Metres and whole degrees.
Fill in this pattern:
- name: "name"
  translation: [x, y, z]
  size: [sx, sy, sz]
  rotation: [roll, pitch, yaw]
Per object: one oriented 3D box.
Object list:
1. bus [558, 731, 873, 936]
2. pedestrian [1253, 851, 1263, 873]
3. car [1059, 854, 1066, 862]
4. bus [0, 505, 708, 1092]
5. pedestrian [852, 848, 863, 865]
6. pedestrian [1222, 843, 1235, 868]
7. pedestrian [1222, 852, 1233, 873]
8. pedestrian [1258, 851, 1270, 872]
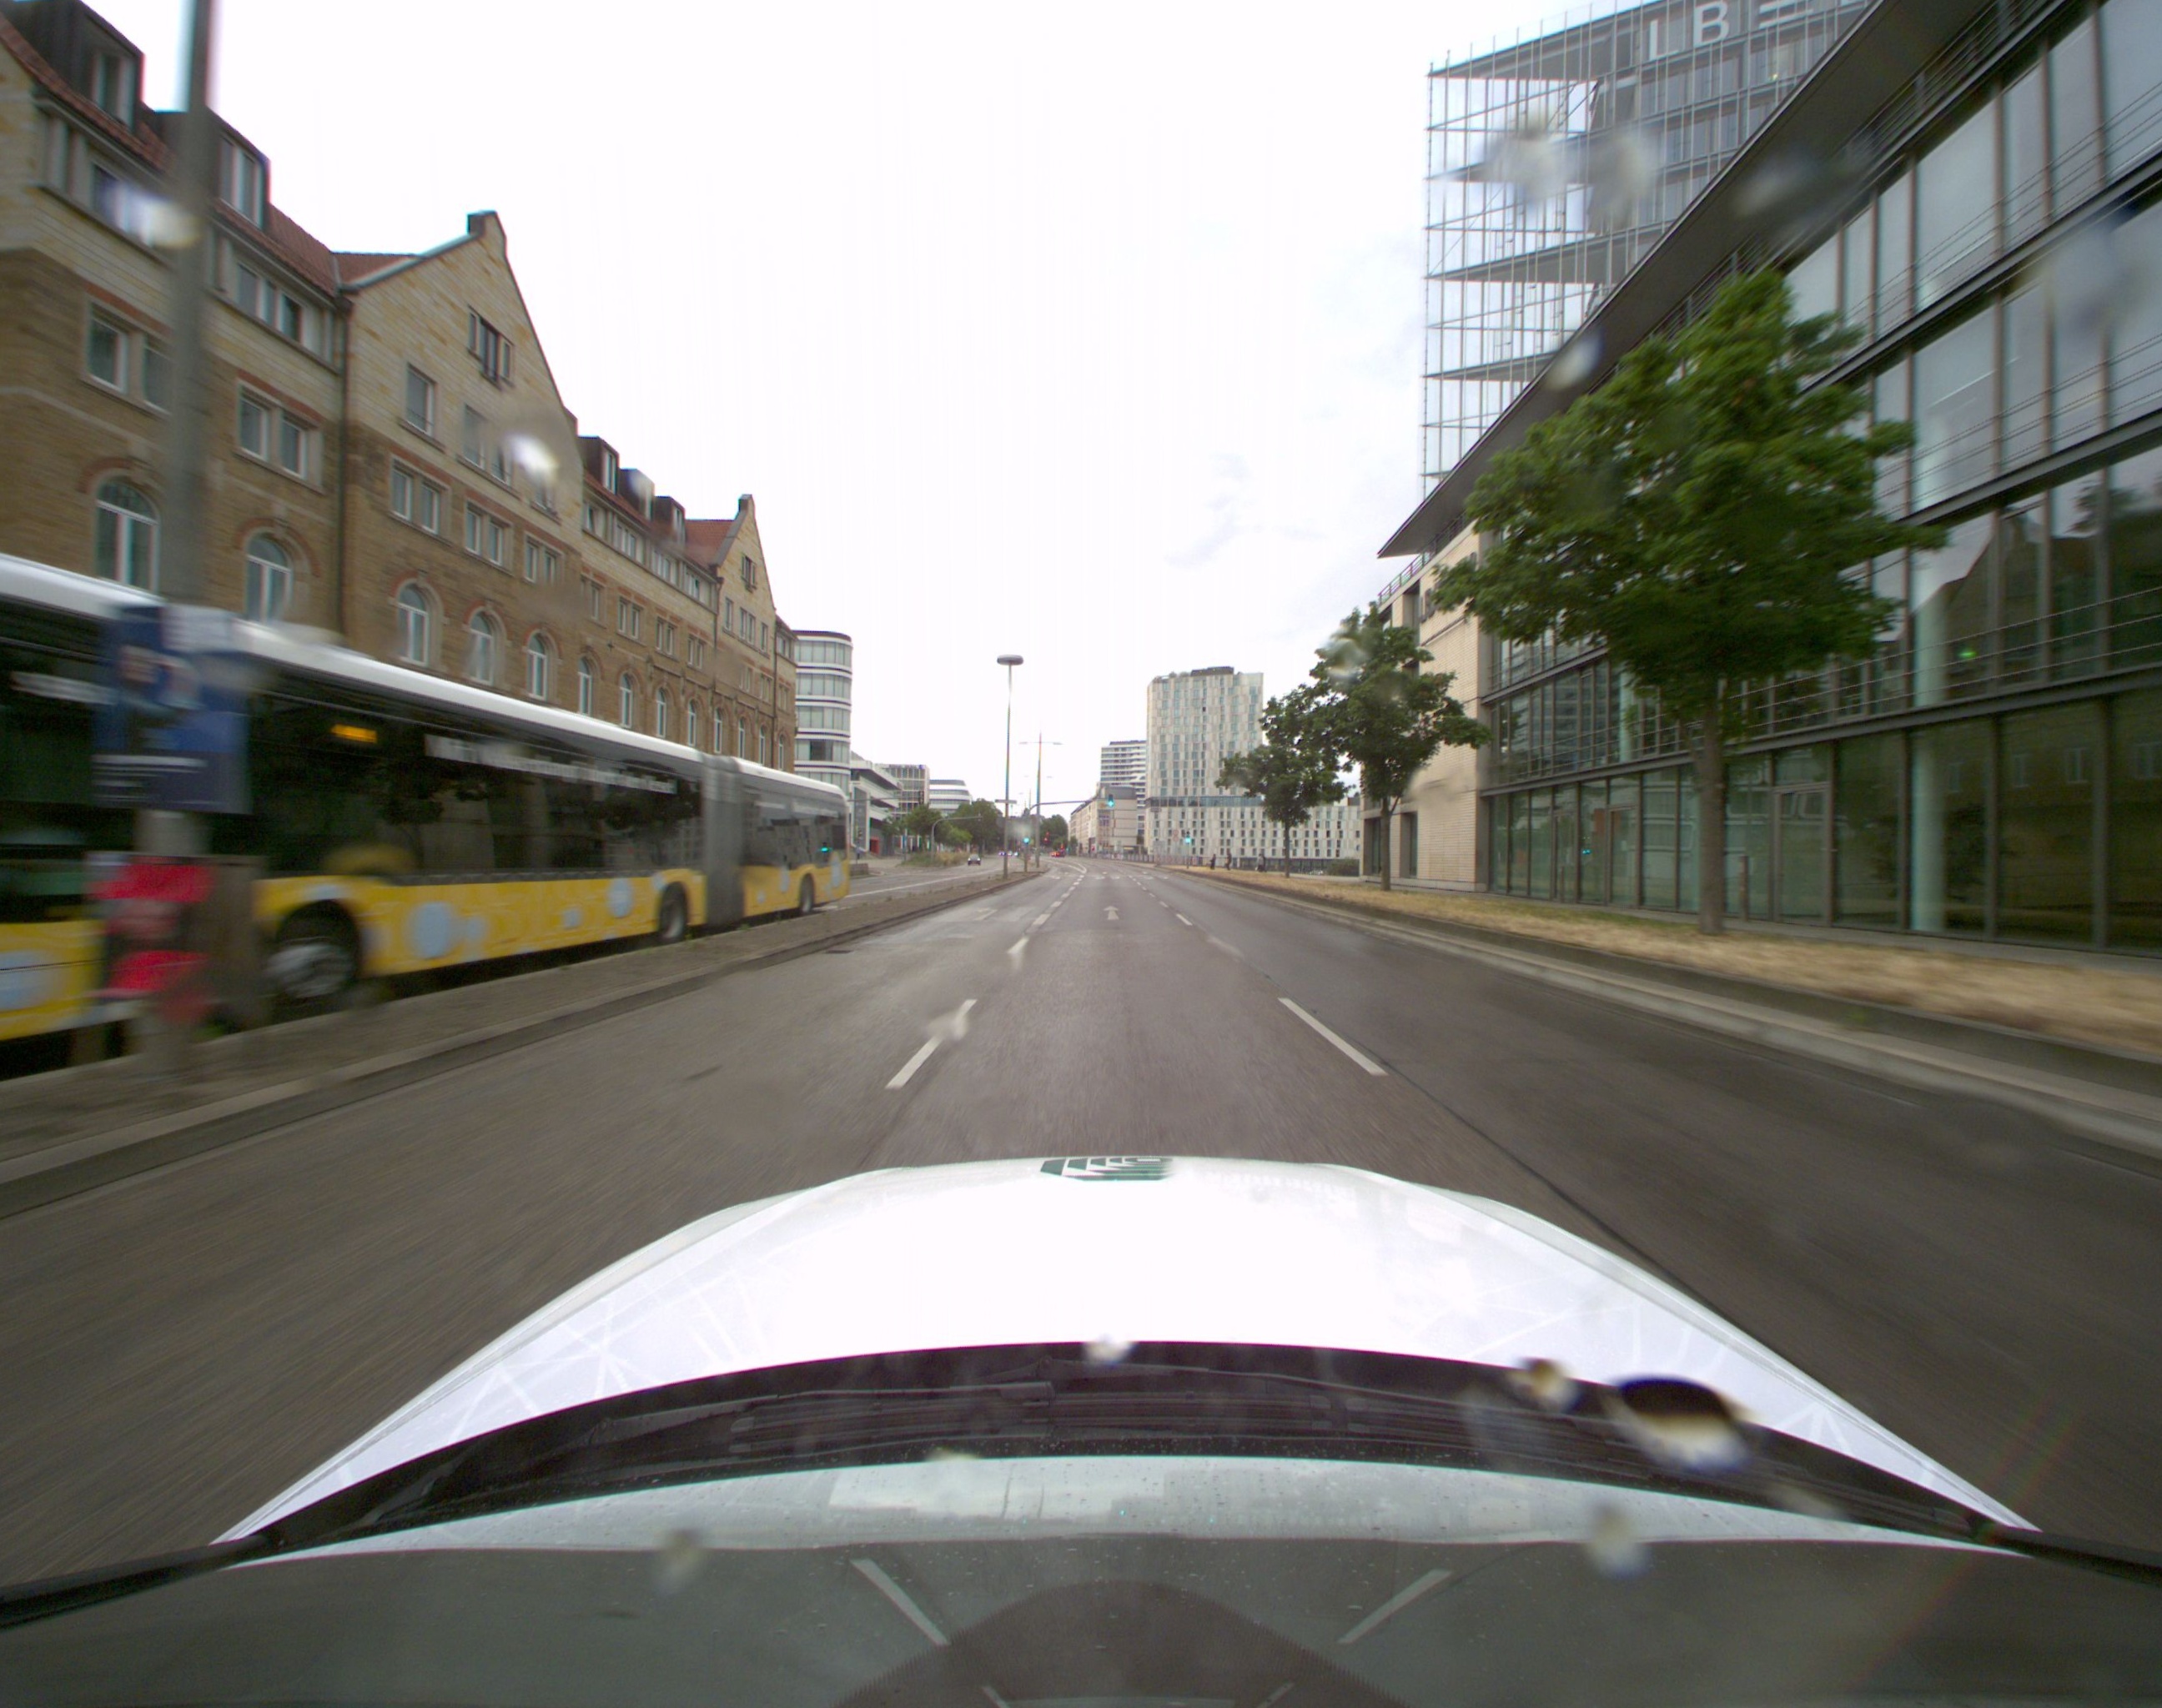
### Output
- name: "bus"
  translation: [-7.643, -0.396, 19.198]
  size: [2.689, 3.559, 10.095]
  rotation: [0, 0, 1]
- name: "pedestrian"
  translation: [13.054, 0.589, 60.036]
  size: [0.544, 1.578, 0.675]
  rotation: [0, 1, 35]
- name: "car"
  translation: [-5.361, 1.133, 236.104]
  size: [1.987, 2.343, 4.000]
  rotation: [-4, 0, 0]
- name: "bus"
  translation: [-7.821, -0.308, 8.906]
  size: [2.689, 3.559, 10.094]
  rotation: [0, 0, 1]
- name: "pedestrian"
  translation: [-26.305, 0.291, 95.782]
  size: [1.026, 2.013, 0.716]
  rotation: [0, 1, 0]
- name: "pedestrian"
  translation: [11.088, 0.074, 61.166]
  size: [0.787, 1.841, 0.544]
  rotation: [-1, 2, -43]
- name: "pedestrian"
  translation: [10.993, 0.642, 61.159]
  size: [0.544, 1.578, 0.675]
  rotation: [0, 1, 35]
- name: "pedestrian"
  translation: [13.672, 0.537, 60.763]
  size: [0.662, 1.578, 0.673]
  rotation: [0, 1, 39]
